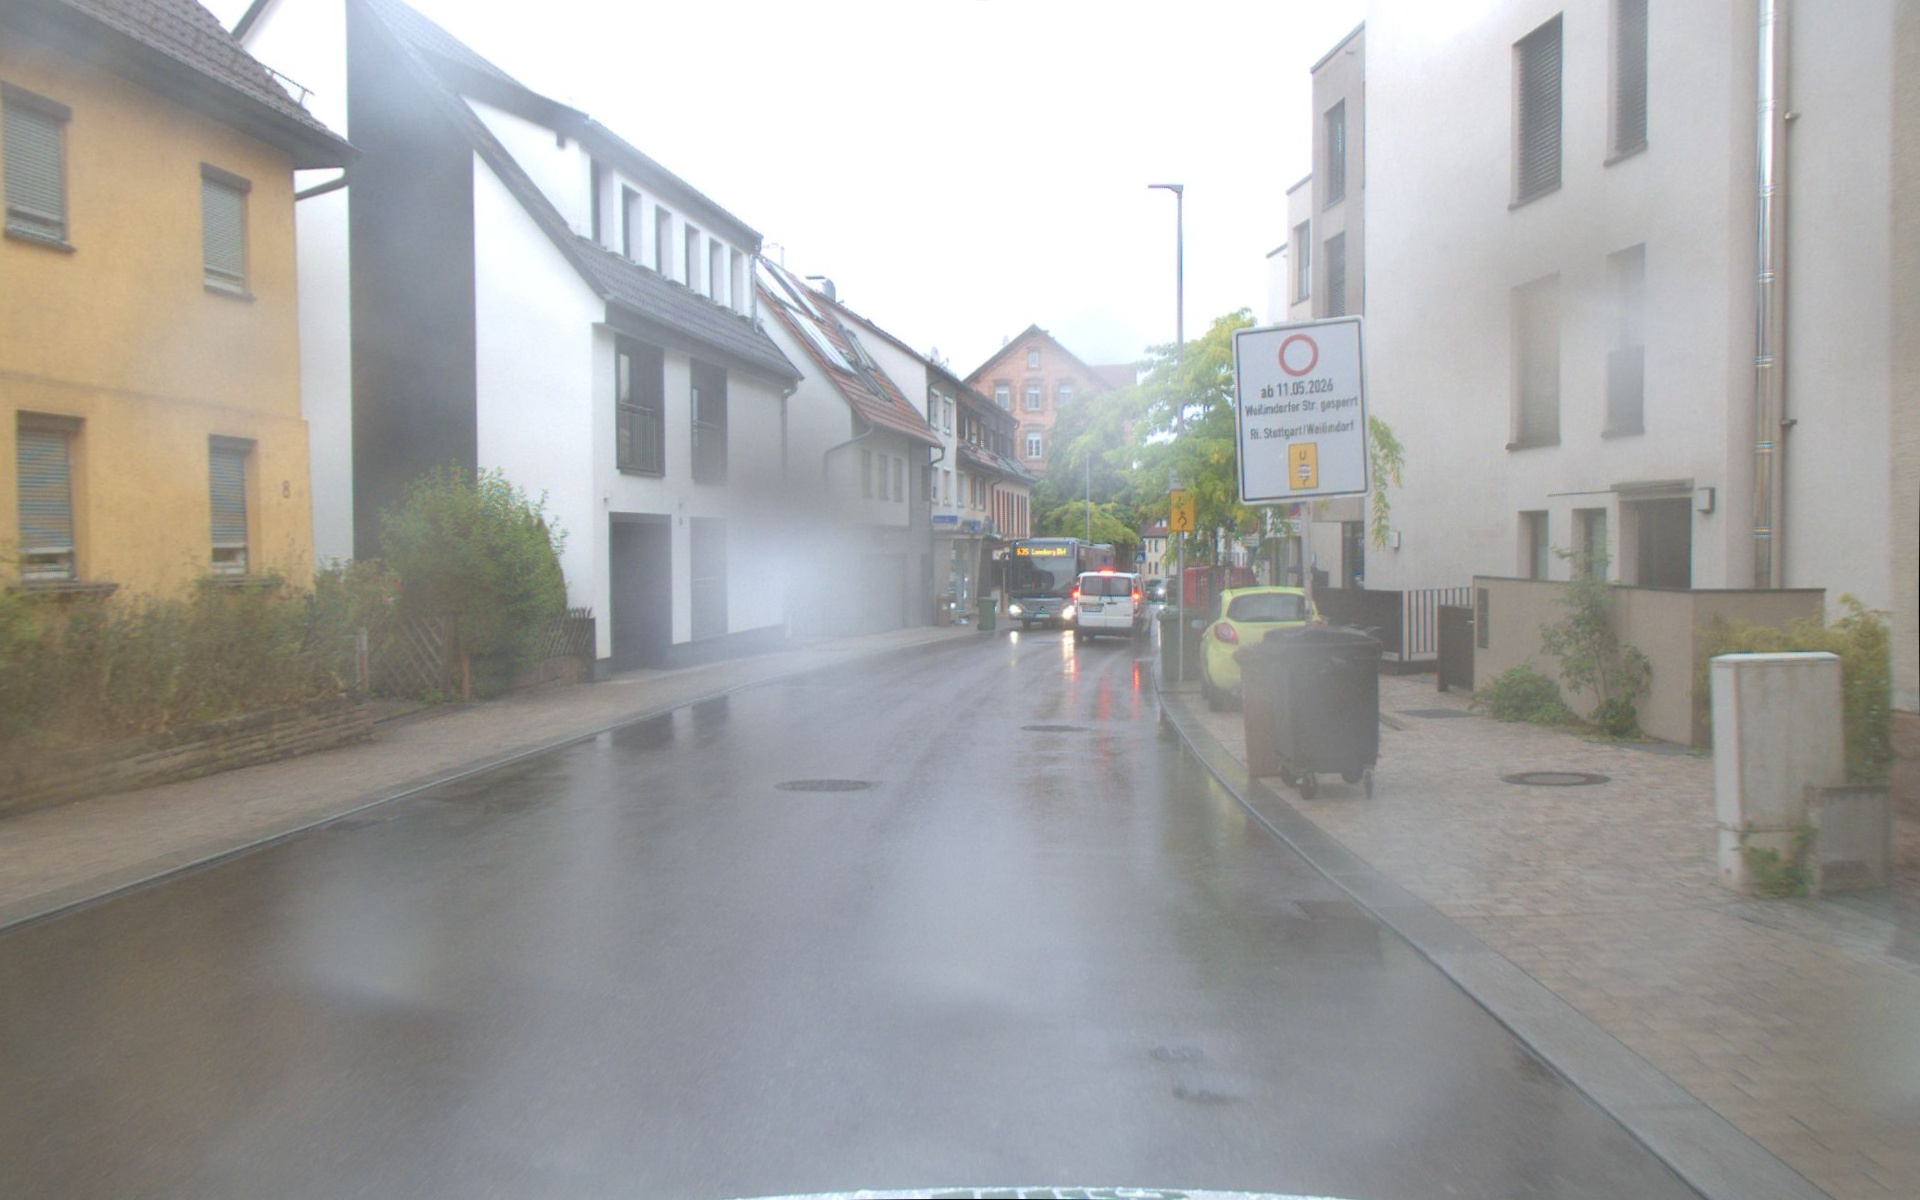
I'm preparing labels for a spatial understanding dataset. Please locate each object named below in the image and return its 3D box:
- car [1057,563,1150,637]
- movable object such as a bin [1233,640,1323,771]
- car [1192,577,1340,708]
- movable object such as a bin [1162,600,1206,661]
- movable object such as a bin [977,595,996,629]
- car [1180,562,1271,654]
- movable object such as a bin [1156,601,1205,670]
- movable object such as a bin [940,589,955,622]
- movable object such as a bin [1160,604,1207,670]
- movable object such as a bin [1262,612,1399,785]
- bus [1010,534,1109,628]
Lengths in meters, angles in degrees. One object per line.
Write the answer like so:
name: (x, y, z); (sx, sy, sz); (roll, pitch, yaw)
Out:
car: (3.974, -0.012, 45.269); (2.148, 1.884, 4.308); (-1, 0, 10)
movable object such as a bin: (2.647, 0.870, 13.821); (0.691, 1.064, 0.518); (0, 0, 6)
car: (3.937, 0.497, 21.701); (1.569, 1.509, 3.304); (-3, 0, 6)
movable object such as a bin: (4.202, 0.560, 31.073); (0.793, 1.128, 0.986); (0, 0, 7)
movable object such as a bin: (0.885, 0.394, 55.121); (0.620, 1.142, 0.520); (0, 0, 5)
car: (5.530, 0.158, 34.149); (1.675, 1.793, 4.003); (0, 0, 12)
movable object such as a bin: (3.681, 0.585, 27.669); (0.793, 1.128, 0.987); (0, 0, 7)
movable object such as a bin: (-0.432, 0.188, 56.569); (0.507, 1.142, 0.636); (0, 0, 1)
movable object such as a bin: (3.910, 0.634, 28.966); (0.793, 1.128, 0.987); (0, 0, 7)
movable object such as a bin: (2.732, 0.695, 12.345); (0.751, 1.193, 1.541); (0, 0, 3)
bus: (3.796, -0.759, 61.078); (2.681, 3.184, 9.243); (0, 1, 9)
